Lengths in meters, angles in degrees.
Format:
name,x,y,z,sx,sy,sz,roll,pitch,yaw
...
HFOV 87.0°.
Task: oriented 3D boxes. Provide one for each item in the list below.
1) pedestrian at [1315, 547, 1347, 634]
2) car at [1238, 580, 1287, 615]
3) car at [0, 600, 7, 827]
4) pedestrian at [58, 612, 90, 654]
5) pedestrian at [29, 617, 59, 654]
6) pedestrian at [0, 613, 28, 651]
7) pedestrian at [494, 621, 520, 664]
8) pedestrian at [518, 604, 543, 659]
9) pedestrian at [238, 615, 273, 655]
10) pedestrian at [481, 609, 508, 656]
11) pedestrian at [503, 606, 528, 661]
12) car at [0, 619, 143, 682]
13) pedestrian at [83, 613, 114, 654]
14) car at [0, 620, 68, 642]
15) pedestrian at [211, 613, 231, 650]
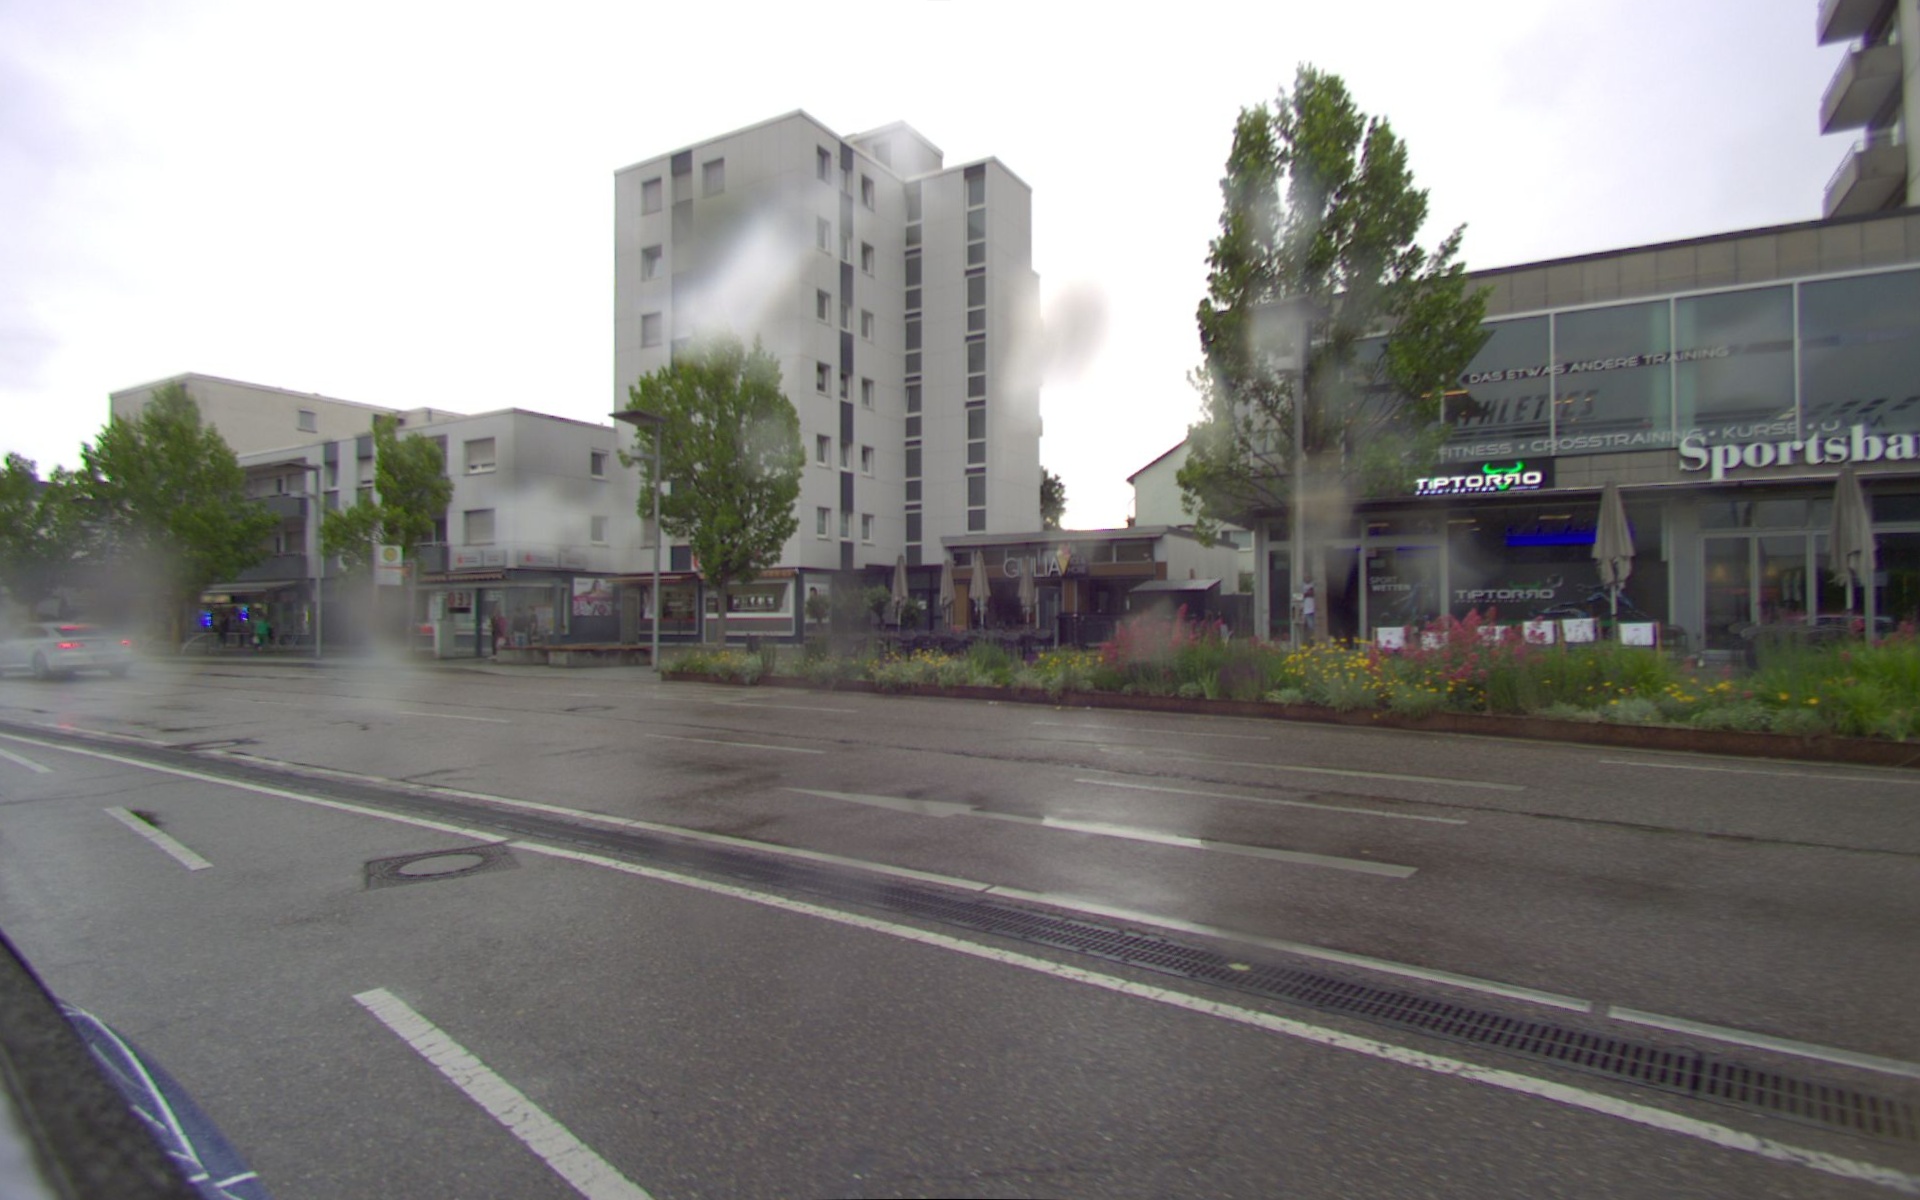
name,x,y,z,sx,sy,sz,roll,pitch,yaw
pedestrian,8.080,-0.204,22.051,0.501,1.862,0.421,-1,-1,40
car,16.279,-0.144,54.313,1.719,1.783,3.961,-1,0,28
car,-8.654,0.844,7.326,3.900,1.554,1.659,-2,-1,33
pedestrian,-43.236,1.618,49.386,0.973,2.029,0.897,-2,-1,29
pedestrian,-48.519,1.870,53.602,0.973,1.929,0.897,-2,-1,29
pedestrian,-48.985,1.636,52.397,0.975,1.929,0.896,-2,-1,33
pedestrian,-14.436,1.352,32.242,0.577,1.362,0.530,-1,-1,36
pedestrian,-13.382,0.977,31.557,0.478,1.672,0.530,-1,-1,36
pedestrian,-30.294,1.496,43.517,0.723,1.658,1.000,-1,0,29
pedestrian,-15.126,1.057,32.879,0.608,1.516,0.535,-1,-1,7
pedestrian,-13.594,1.019,30.959,0.534,1.672,0.474,-1,-1,31
car,-23.520,1.266,26.213,4.783,1.472,1.832,-1,0,26
pedestrian,-43.057,1.663,50.598,0.973,2.029,0.897,-2,-1,29
car,-76.483,2.566,83.643,1.729,1.733,3.882,-1,-1,11
pedestrian,-35.431,1.503,48.527,0.678,1.763,0.544,-2,-1,31
